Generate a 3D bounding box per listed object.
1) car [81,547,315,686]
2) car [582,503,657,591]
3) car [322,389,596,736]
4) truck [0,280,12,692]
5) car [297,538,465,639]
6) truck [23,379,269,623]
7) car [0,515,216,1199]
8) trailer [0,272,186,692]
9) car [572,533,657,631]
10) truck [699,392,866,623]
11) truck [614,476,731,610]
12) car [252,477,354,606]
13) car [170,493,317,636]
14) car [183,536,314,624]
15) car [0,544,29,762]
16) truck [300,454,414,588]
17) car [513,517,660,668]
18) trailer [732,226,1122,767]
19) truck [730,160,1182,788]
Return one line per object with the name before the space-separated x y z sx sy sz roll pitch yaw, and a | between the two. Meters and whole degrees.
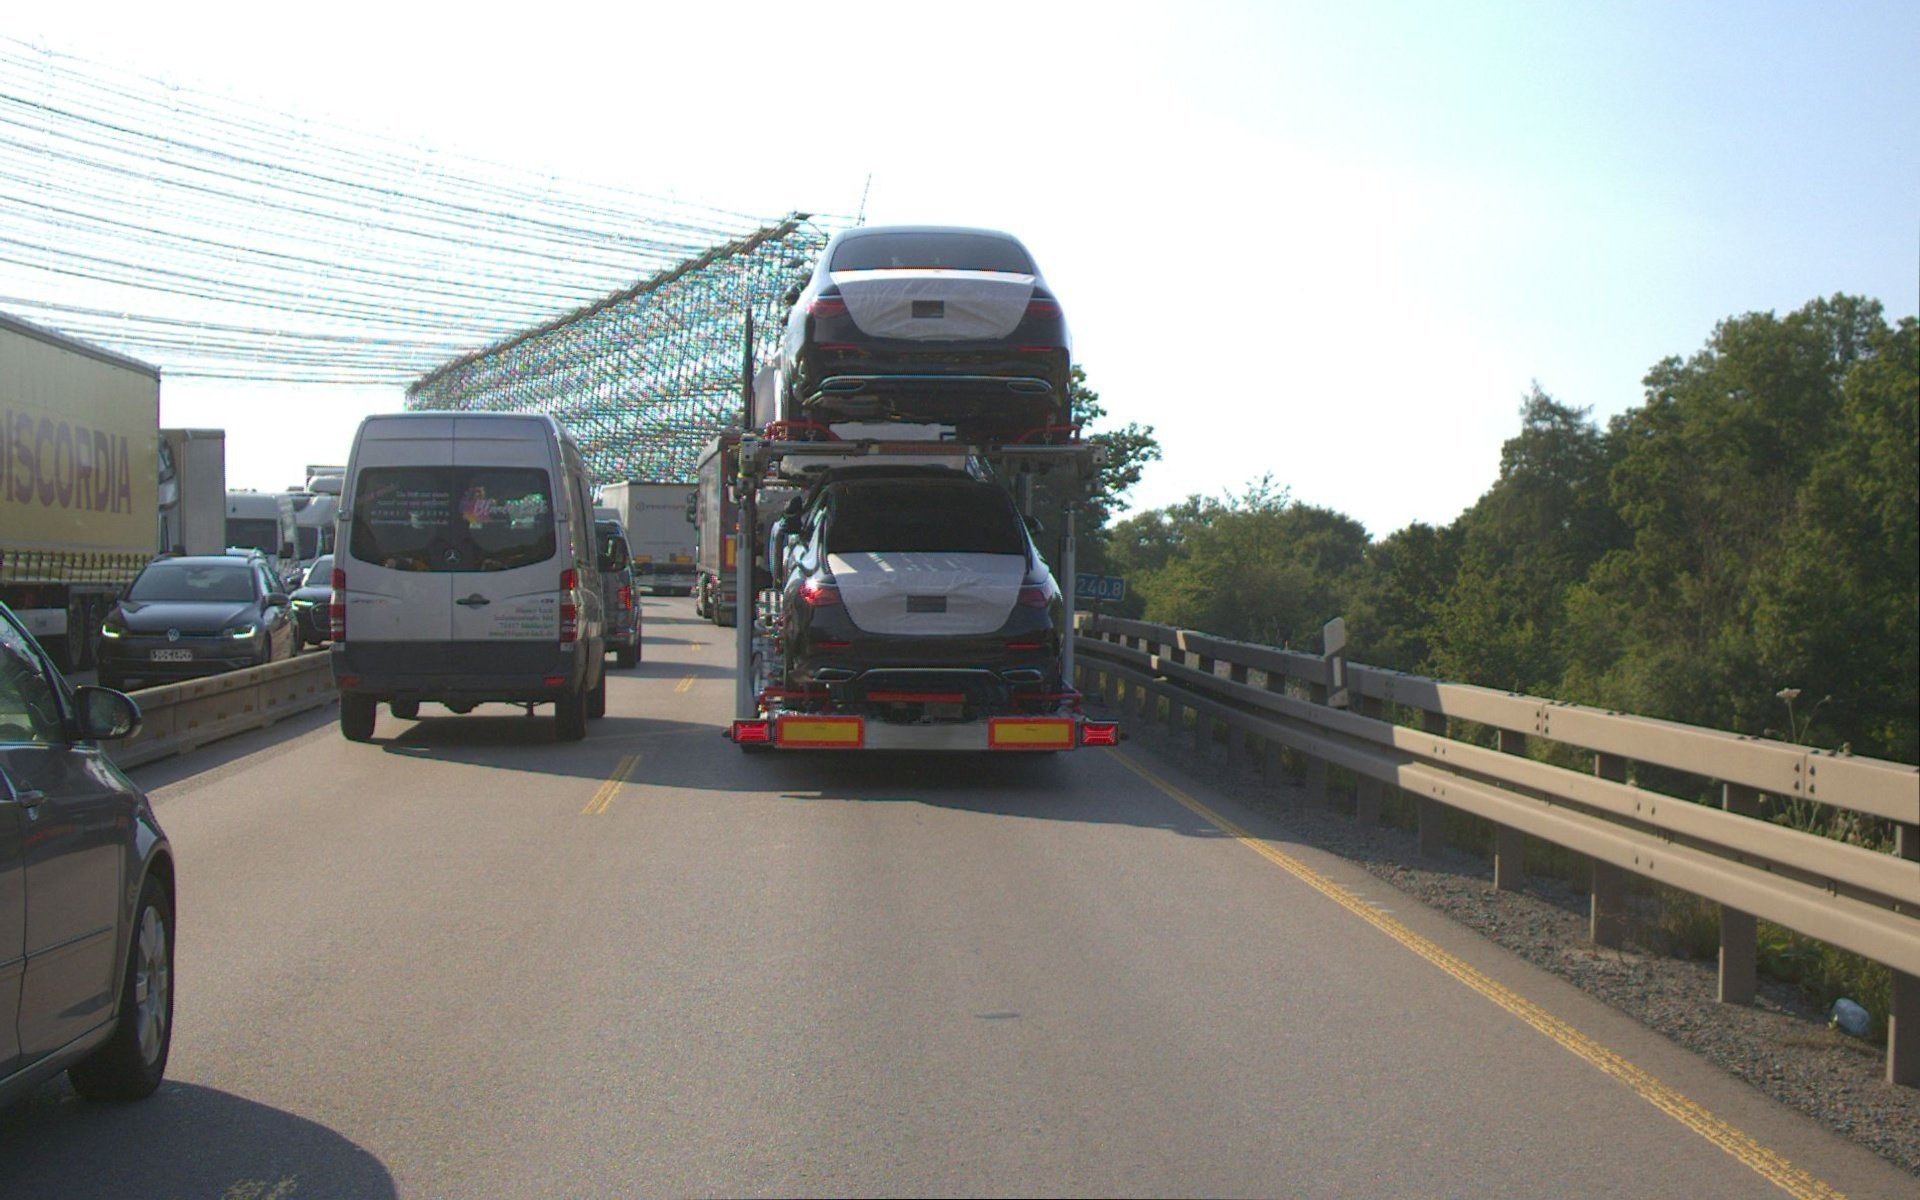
car | -8.341 0.196 38.006 1.754 1.444 4.534 0 -1 -2
car | -7.944 -1.218 80.433 1.668 1.978 3.818 0 -1 -4
car | -4.083 -0.268 28.630 1.979 2.675 4.147 0 -1 -4
truck | -11.237 -1.201 33.180 2.893 4.257 5.772 0 -1 -3
car | -9.072 -0.151 54.217 1.993 1.525 4.726 0 -1 -2
truck | -12.576 -1.407 53.714 2.358 3.519 7.698 0 -1 -3
car | -2.966 0.612 8.078 1.700 1.581 4.147 0 -1 -2
trailer | -11.722 -1.183 40.290 2.893 4.379 14.381 0 -1 -3
car | -7.180 -0.345 71.725 1.668 1.978 3.818 0 -1 -4
truck | -4.050 -1.979 75.831 3.227 4.661 11.697 0 1 -5
truck | -10.645 -2.101 126.151 3.647 4.661 11.698 0 1 -8
car | -14.517 -1.298 76.191 1.668 2.756 4.960 0 1 -4
car | -14.239 -0.650 68.597 2.128 2.741 5.505 0 -1 -4
car | -12.699 -0.332 61.570 1.808 1.525 4.048 0 -1 -4
car | -7.411 0.382 22.629 1.670 1.501 3.848 0 1 -2
truck | -18.777 -2.438 107.450 2.641 3.981 9.031 0 1 -4
car | -5.064 -0.080 46.974 1.668 1.978 3.818 0 -1 -1
trailer | -0.706 -0.689 32.967 2.874 3.980 15.280 0 -1 -3
truck | -0.196 -0.770 24.660 2.869 3.966 5.772 0 -1 -3
